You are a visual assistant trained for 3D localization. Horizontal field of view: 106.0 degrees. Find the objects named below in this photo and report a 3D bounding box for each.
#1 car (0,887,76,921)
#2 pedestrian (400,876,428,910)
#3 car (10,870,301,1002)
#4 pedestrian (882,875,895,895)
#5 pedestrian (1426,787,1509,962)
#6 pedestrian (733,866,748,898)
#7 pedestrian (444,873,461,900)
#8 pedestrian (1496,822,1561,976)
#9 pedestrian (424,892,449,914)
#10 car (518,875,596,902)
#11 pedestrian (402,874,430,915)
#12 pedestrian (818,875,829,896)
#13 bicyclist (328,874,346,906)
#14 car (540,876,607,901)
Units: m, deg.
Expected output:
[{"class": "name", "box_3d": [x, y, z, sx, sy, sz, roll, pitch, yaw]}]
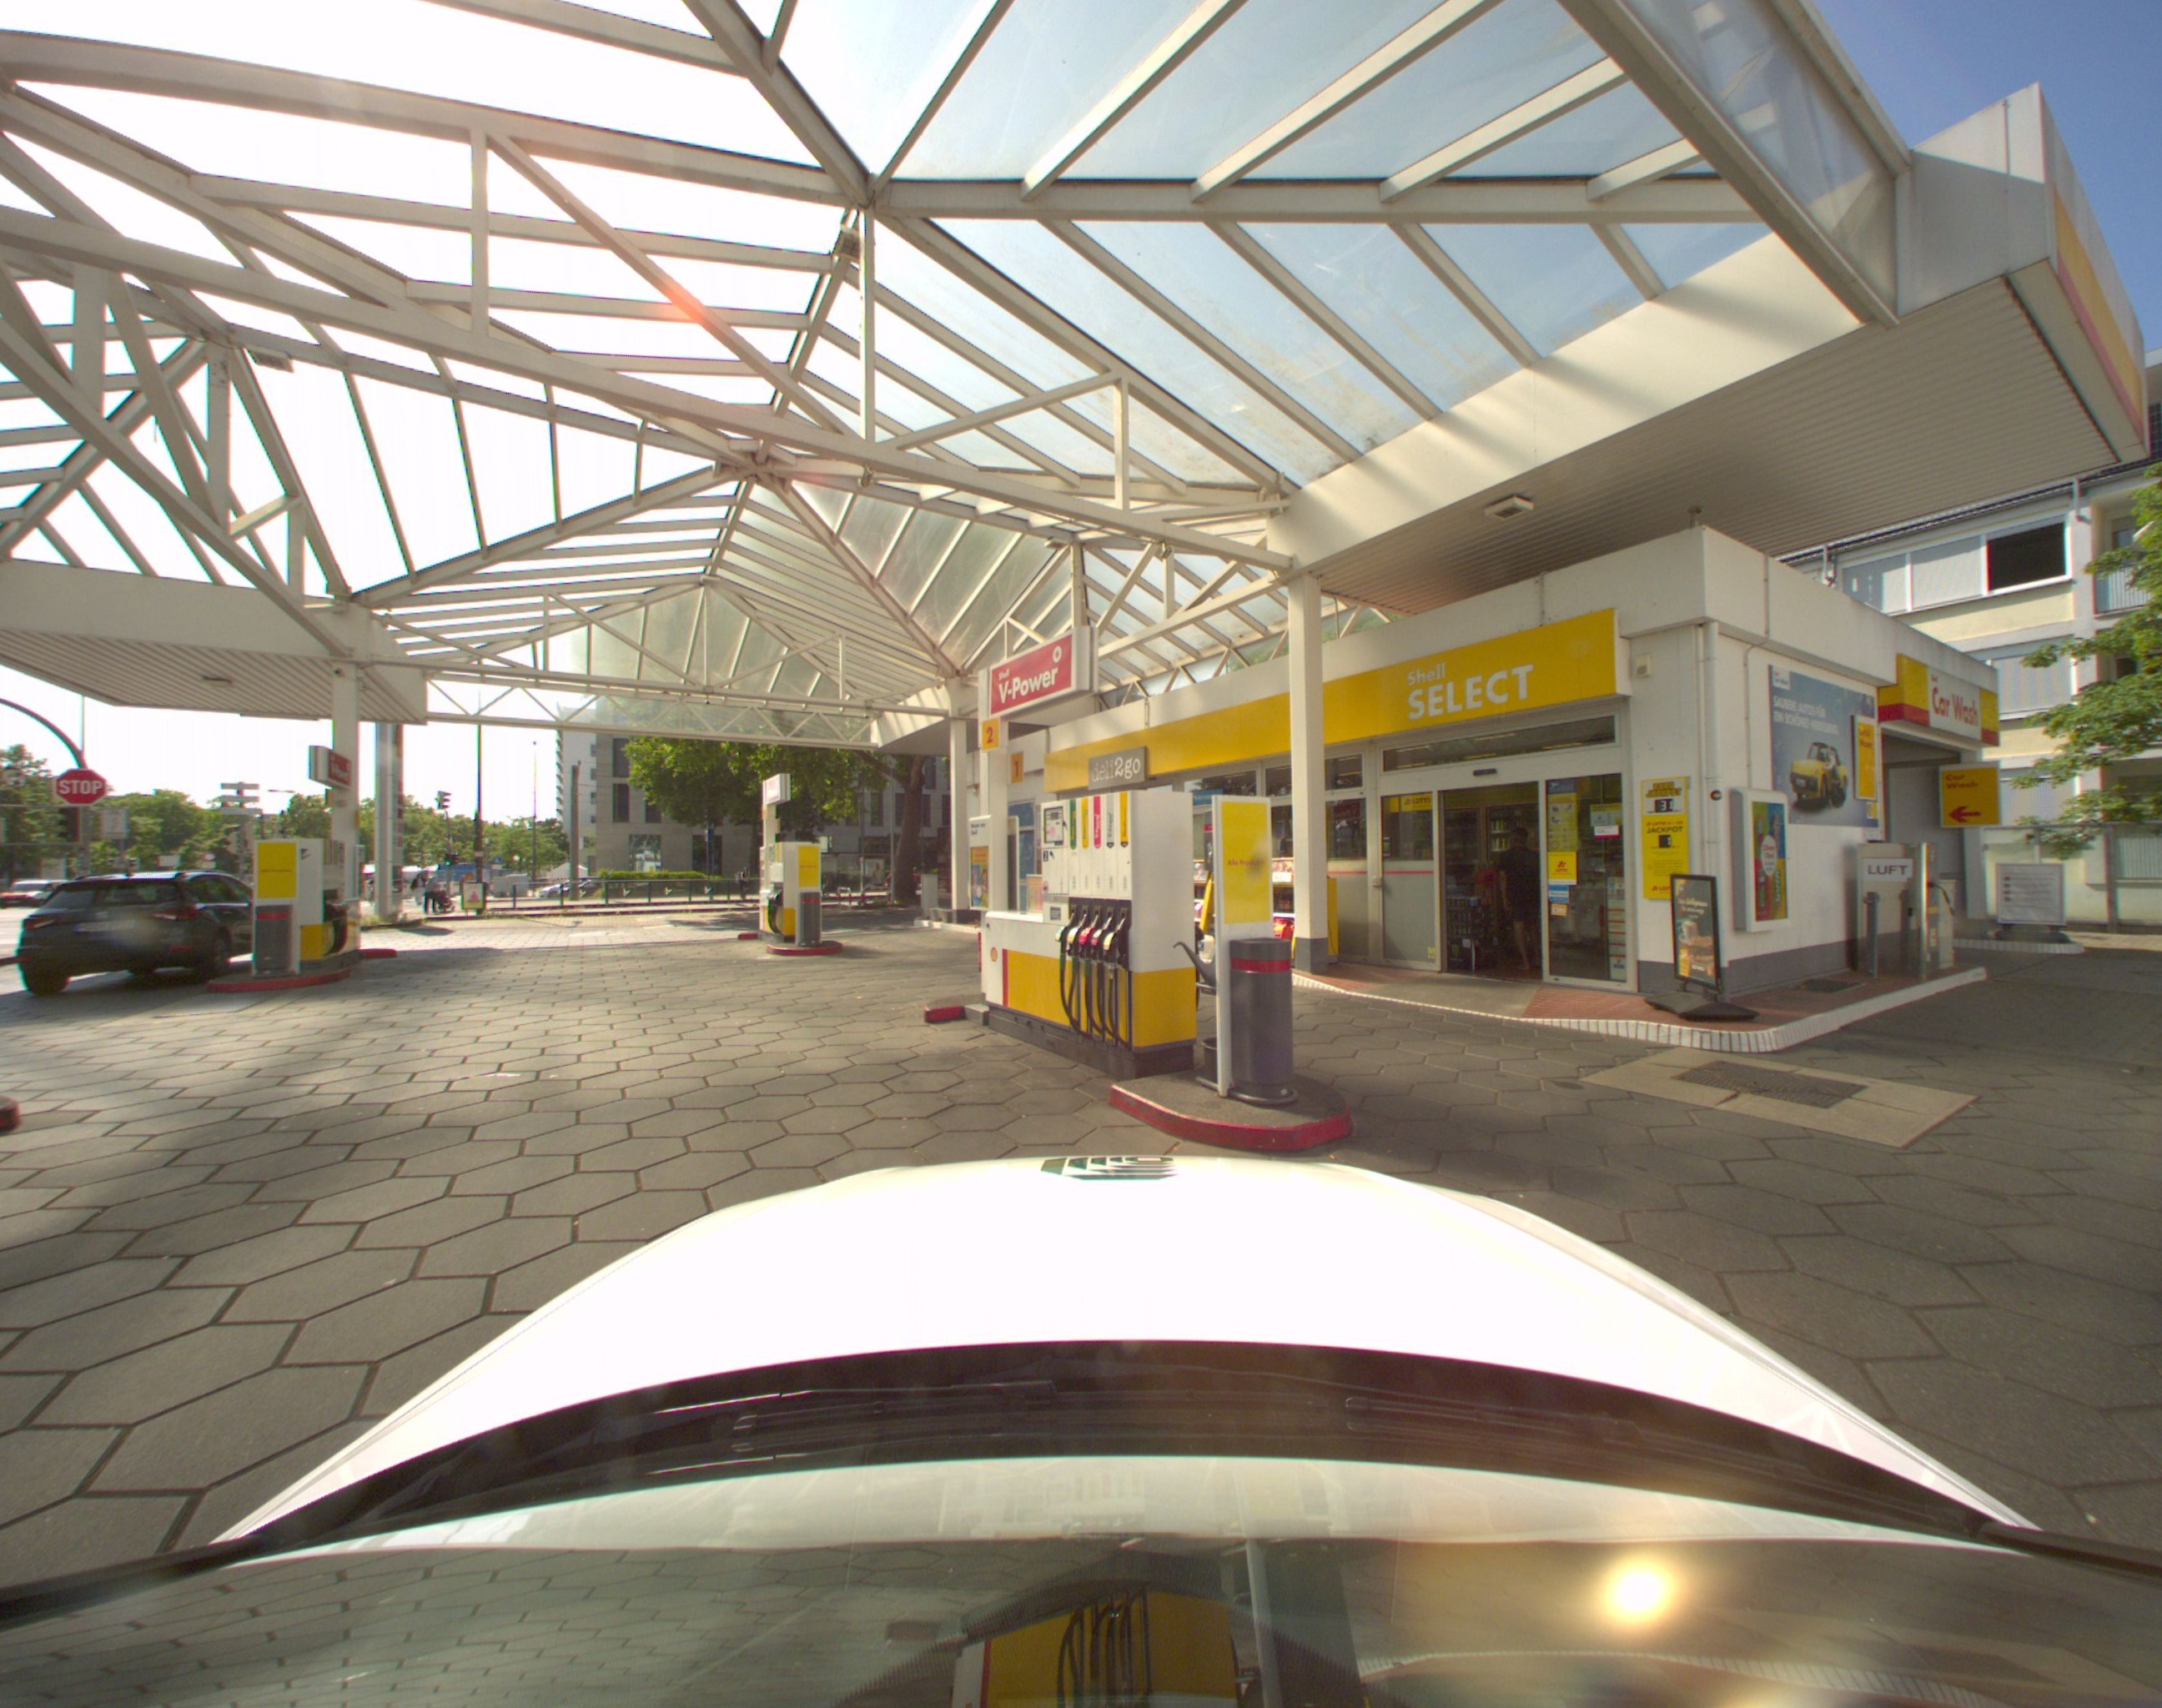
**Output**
[{"class": "car", "box_3d": [-69.729, 3.290, 54.252, 2.006, 2.013, 4.403, -3, 0, -30]}, {"class": "pedestrian", "box_3d": [-33.601, 1.966, 41.023, 0.934, 1.683, 0.500, -1, -1, -16]}, {"class": "car", "box_3d": [-13.317, 1.071, 12.060, 1.755, 1.532, 3.959, -2, -1, -32]}, {"class": "pedestrian", "box_3d": [-10.919, 1.756, 46.190, 0.631, 1.138, 0.519, 0, -1, -26]}, {"class": "pedestrian", "box_3d": [4.683, 0.239, 9.865, 0.746, 2.014, 0.616, 0, -2, -41]}, {"class": "pedestrian", "box_3d": [-17.486, 1.445, 41.824, 0.588, 1.591, 0.663, 0, 0, -32]}, {"class": "pedestrian", "box_3d": [-36.121, 1.871, 46.828, 0.653, 1.540, 0.499, 0, -1, -23]}, {"class": "pedestrian", "box_3d": [5.320, 0.520, 9.684, 0.566, 1.762, 0.534, -2, -2, 38]}, {"class": "pedestrian", "box_3d": [-27.597, 2.089, 34.892, 0.497, 0.880, 0.696, -1, -1, 24]}, {"class": "car", "box_3d": [-32.965, 2.150, 51.279, 4.018, 1.552, 1.684, 0, -1, -37]}, {"class": "pedestrian", "box_3d": [-27.950, 1.688, 34.243, 0.497, 1.683, 0.784, -1, -1, 25]}, {"class": "pedestrian", "box_3d": [-13.973, 1.708, 44.192, 0.501, 1.138, 0.519, 0, -1, -25]}, {"class": "bicyclist", "box_3d": [-38.119, 1.837, 41.719, 0.643, 1.580, 1.159, 0, -2, -42]}, {"class": "car", "box_3d": [-33.948, 2.273, 54.509, 3.711, 1.552, 1.574, 0, -1, -37]}]
